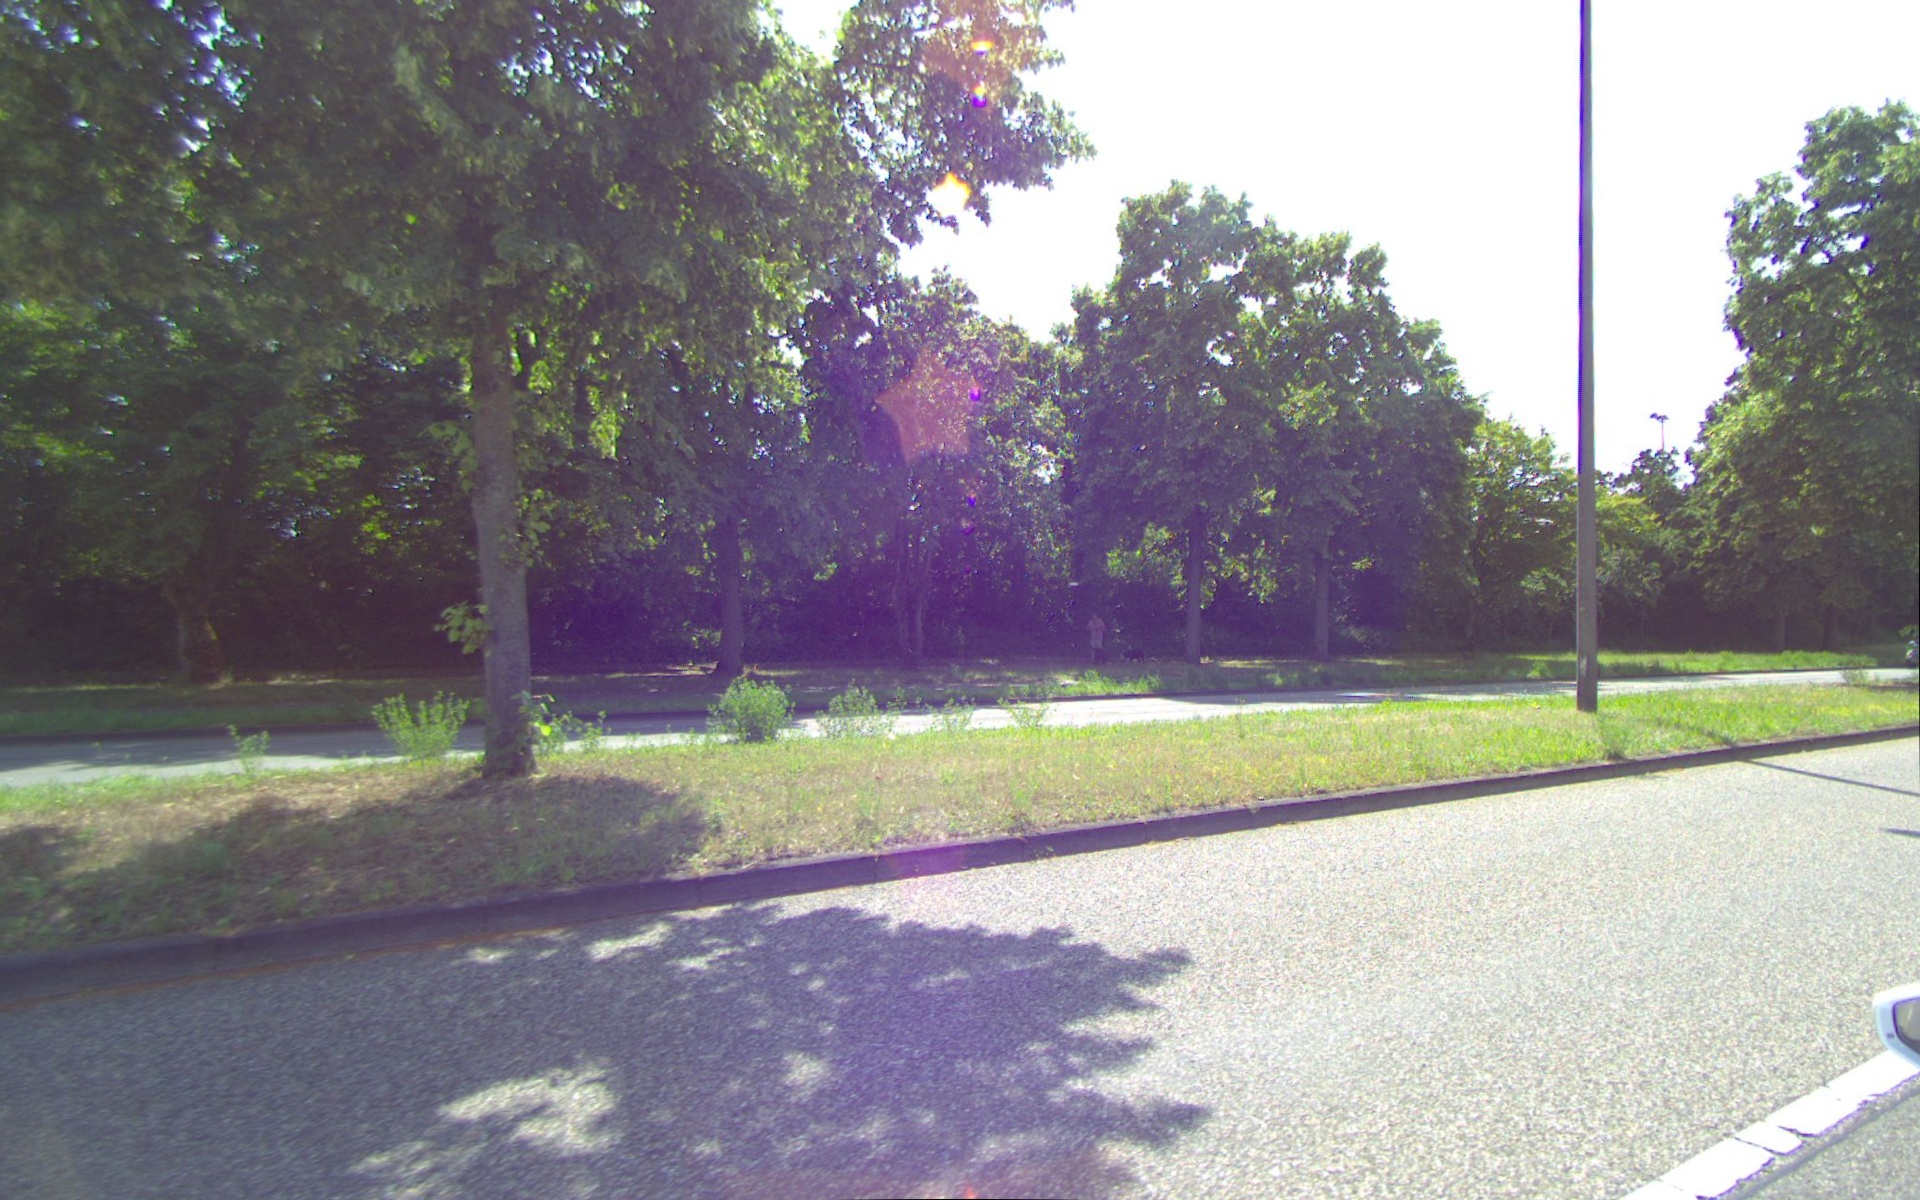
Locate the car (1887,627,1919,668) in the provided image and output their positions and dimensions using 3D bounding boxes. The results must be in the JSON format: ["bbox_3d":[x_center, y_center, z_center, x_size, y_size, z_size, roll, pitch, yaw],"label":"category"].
[{"bbox_3d":[43.221,2.098,44.549,4.144,1.728,1.984,1,-1,-30],"label":"car"}]

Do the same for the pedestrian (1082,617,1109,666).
[{"bbox_3d":[4.630,1.416,34.431,0.648,1.652,0.641,1,0,-30],"label":"pedestrian"}]
